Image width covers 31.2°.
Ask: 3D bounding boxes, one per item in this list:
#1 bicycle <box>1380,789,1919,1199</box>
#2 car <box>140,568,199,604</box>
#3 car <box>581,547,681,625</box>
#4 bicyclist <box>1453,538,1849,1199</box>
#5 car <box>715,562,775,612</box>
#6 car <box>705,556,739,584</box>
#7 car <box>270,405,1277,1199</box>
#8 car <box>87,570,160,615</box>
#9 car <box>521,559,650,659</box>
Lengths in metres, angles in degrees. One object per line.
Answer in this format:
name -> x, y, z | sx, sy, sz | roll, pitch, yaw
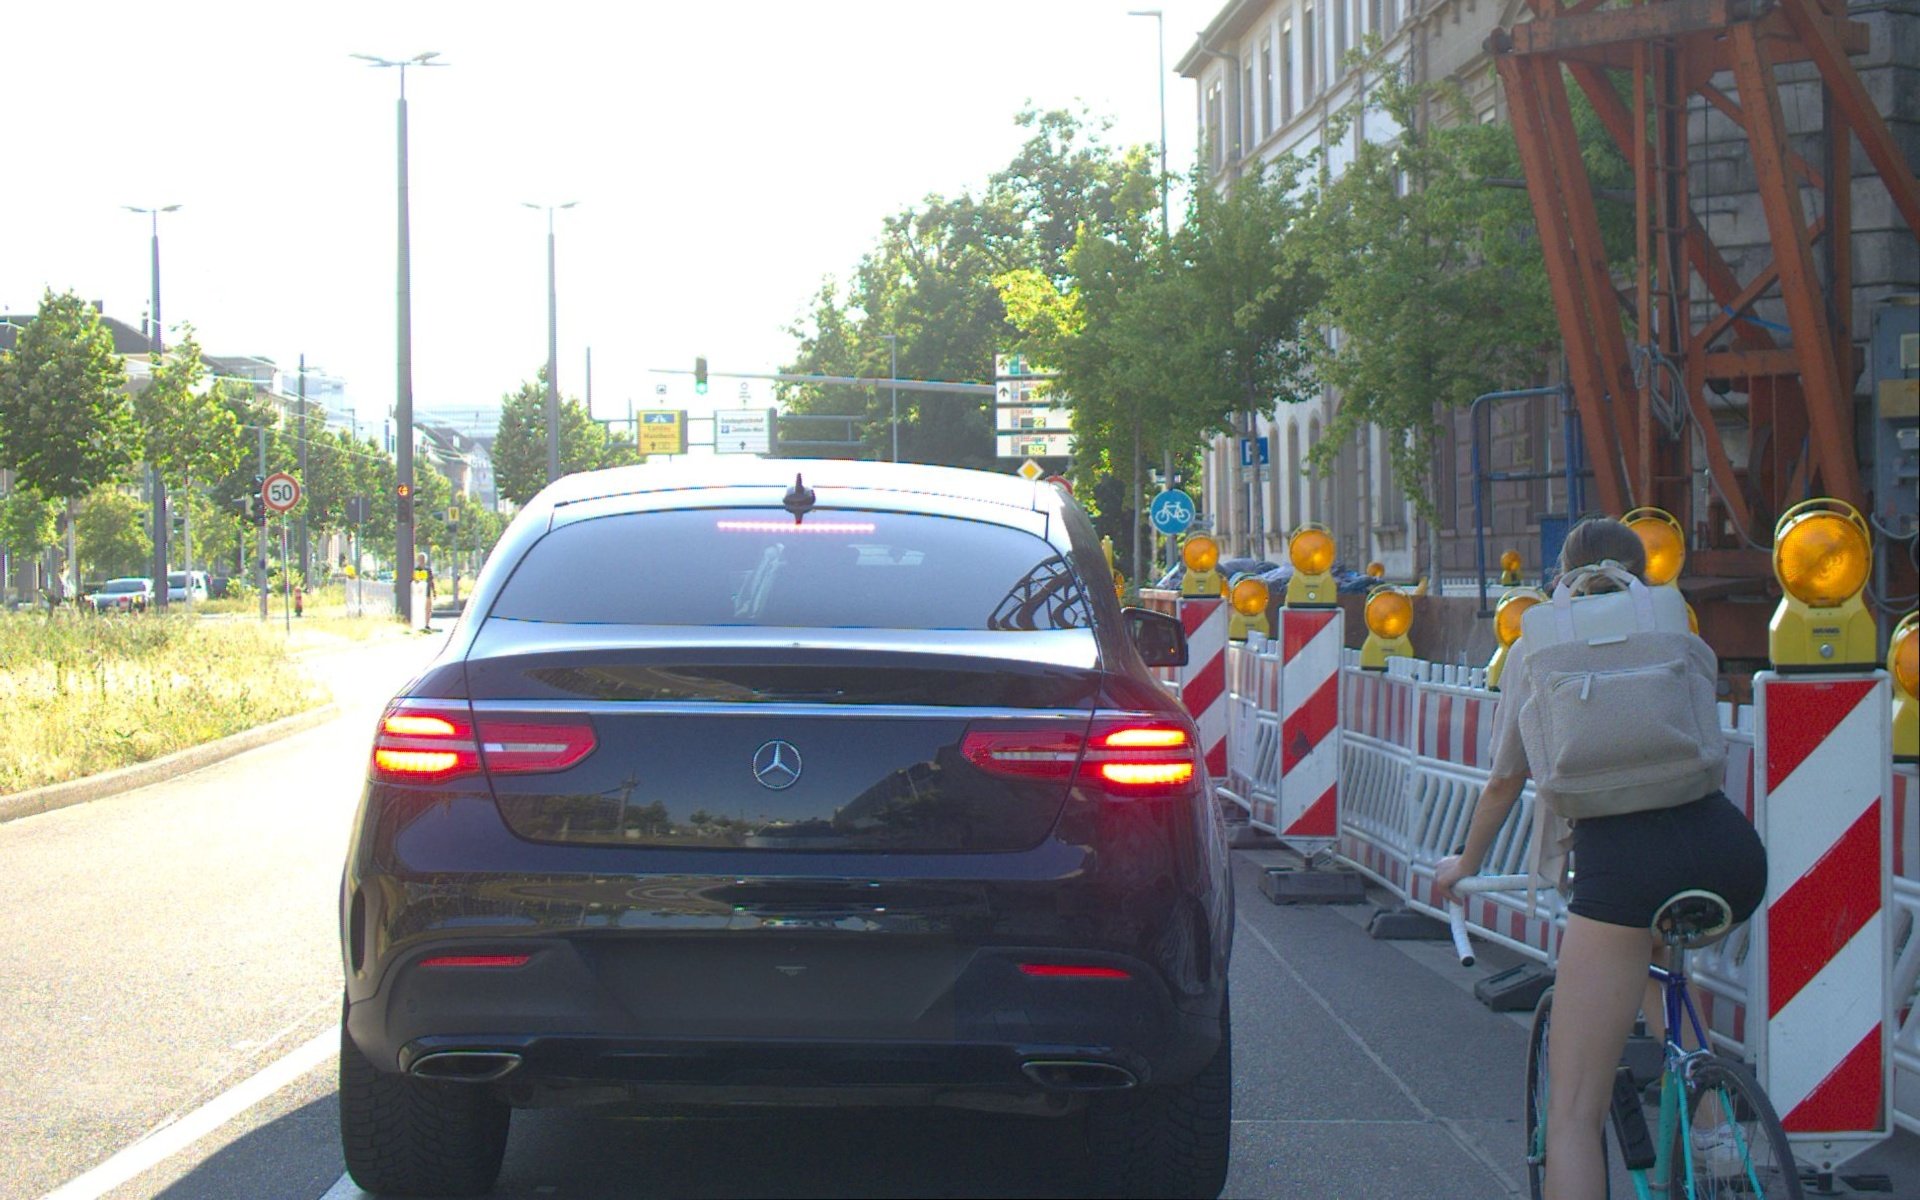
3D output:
bicycle -> 1.164, 0.920, 6.139 | 0.512, 1.048, 1.725 | 1, 1, -3
car -> -32.327, -0.588, 140.684 | 1.708, 1.437, 3.583 | 1, 1, -3
car -> -6.270, -0.276, 65.810 | 1.708, 1.437, 3.583 | 1, 1, -3
bicyclist -> 1.192, 0.592, 6.018 | 0.522, 1.391, 0.615 | 1, 0, -3
car -> -6.359, -0.412, 102.125 | 1.708, 1.437, 3.583 | 1, 1, -3
car -> -12.701, -1.611, 183.807 | 1.708, 1.437, 3.583 | 1, 1, -3
car -> -0.397, 0.486, 8.879 | 1.993, 1.766, 4.000 | 1, 1, -1
car -> -27.872, -0.265, 114.623 | 1.708, 1.437, 3.583 | 1, 1, -3
car -> -5.614, 0.109, 51.874 | 1.708, 1.437, 3.583 | 1, 1, -3
